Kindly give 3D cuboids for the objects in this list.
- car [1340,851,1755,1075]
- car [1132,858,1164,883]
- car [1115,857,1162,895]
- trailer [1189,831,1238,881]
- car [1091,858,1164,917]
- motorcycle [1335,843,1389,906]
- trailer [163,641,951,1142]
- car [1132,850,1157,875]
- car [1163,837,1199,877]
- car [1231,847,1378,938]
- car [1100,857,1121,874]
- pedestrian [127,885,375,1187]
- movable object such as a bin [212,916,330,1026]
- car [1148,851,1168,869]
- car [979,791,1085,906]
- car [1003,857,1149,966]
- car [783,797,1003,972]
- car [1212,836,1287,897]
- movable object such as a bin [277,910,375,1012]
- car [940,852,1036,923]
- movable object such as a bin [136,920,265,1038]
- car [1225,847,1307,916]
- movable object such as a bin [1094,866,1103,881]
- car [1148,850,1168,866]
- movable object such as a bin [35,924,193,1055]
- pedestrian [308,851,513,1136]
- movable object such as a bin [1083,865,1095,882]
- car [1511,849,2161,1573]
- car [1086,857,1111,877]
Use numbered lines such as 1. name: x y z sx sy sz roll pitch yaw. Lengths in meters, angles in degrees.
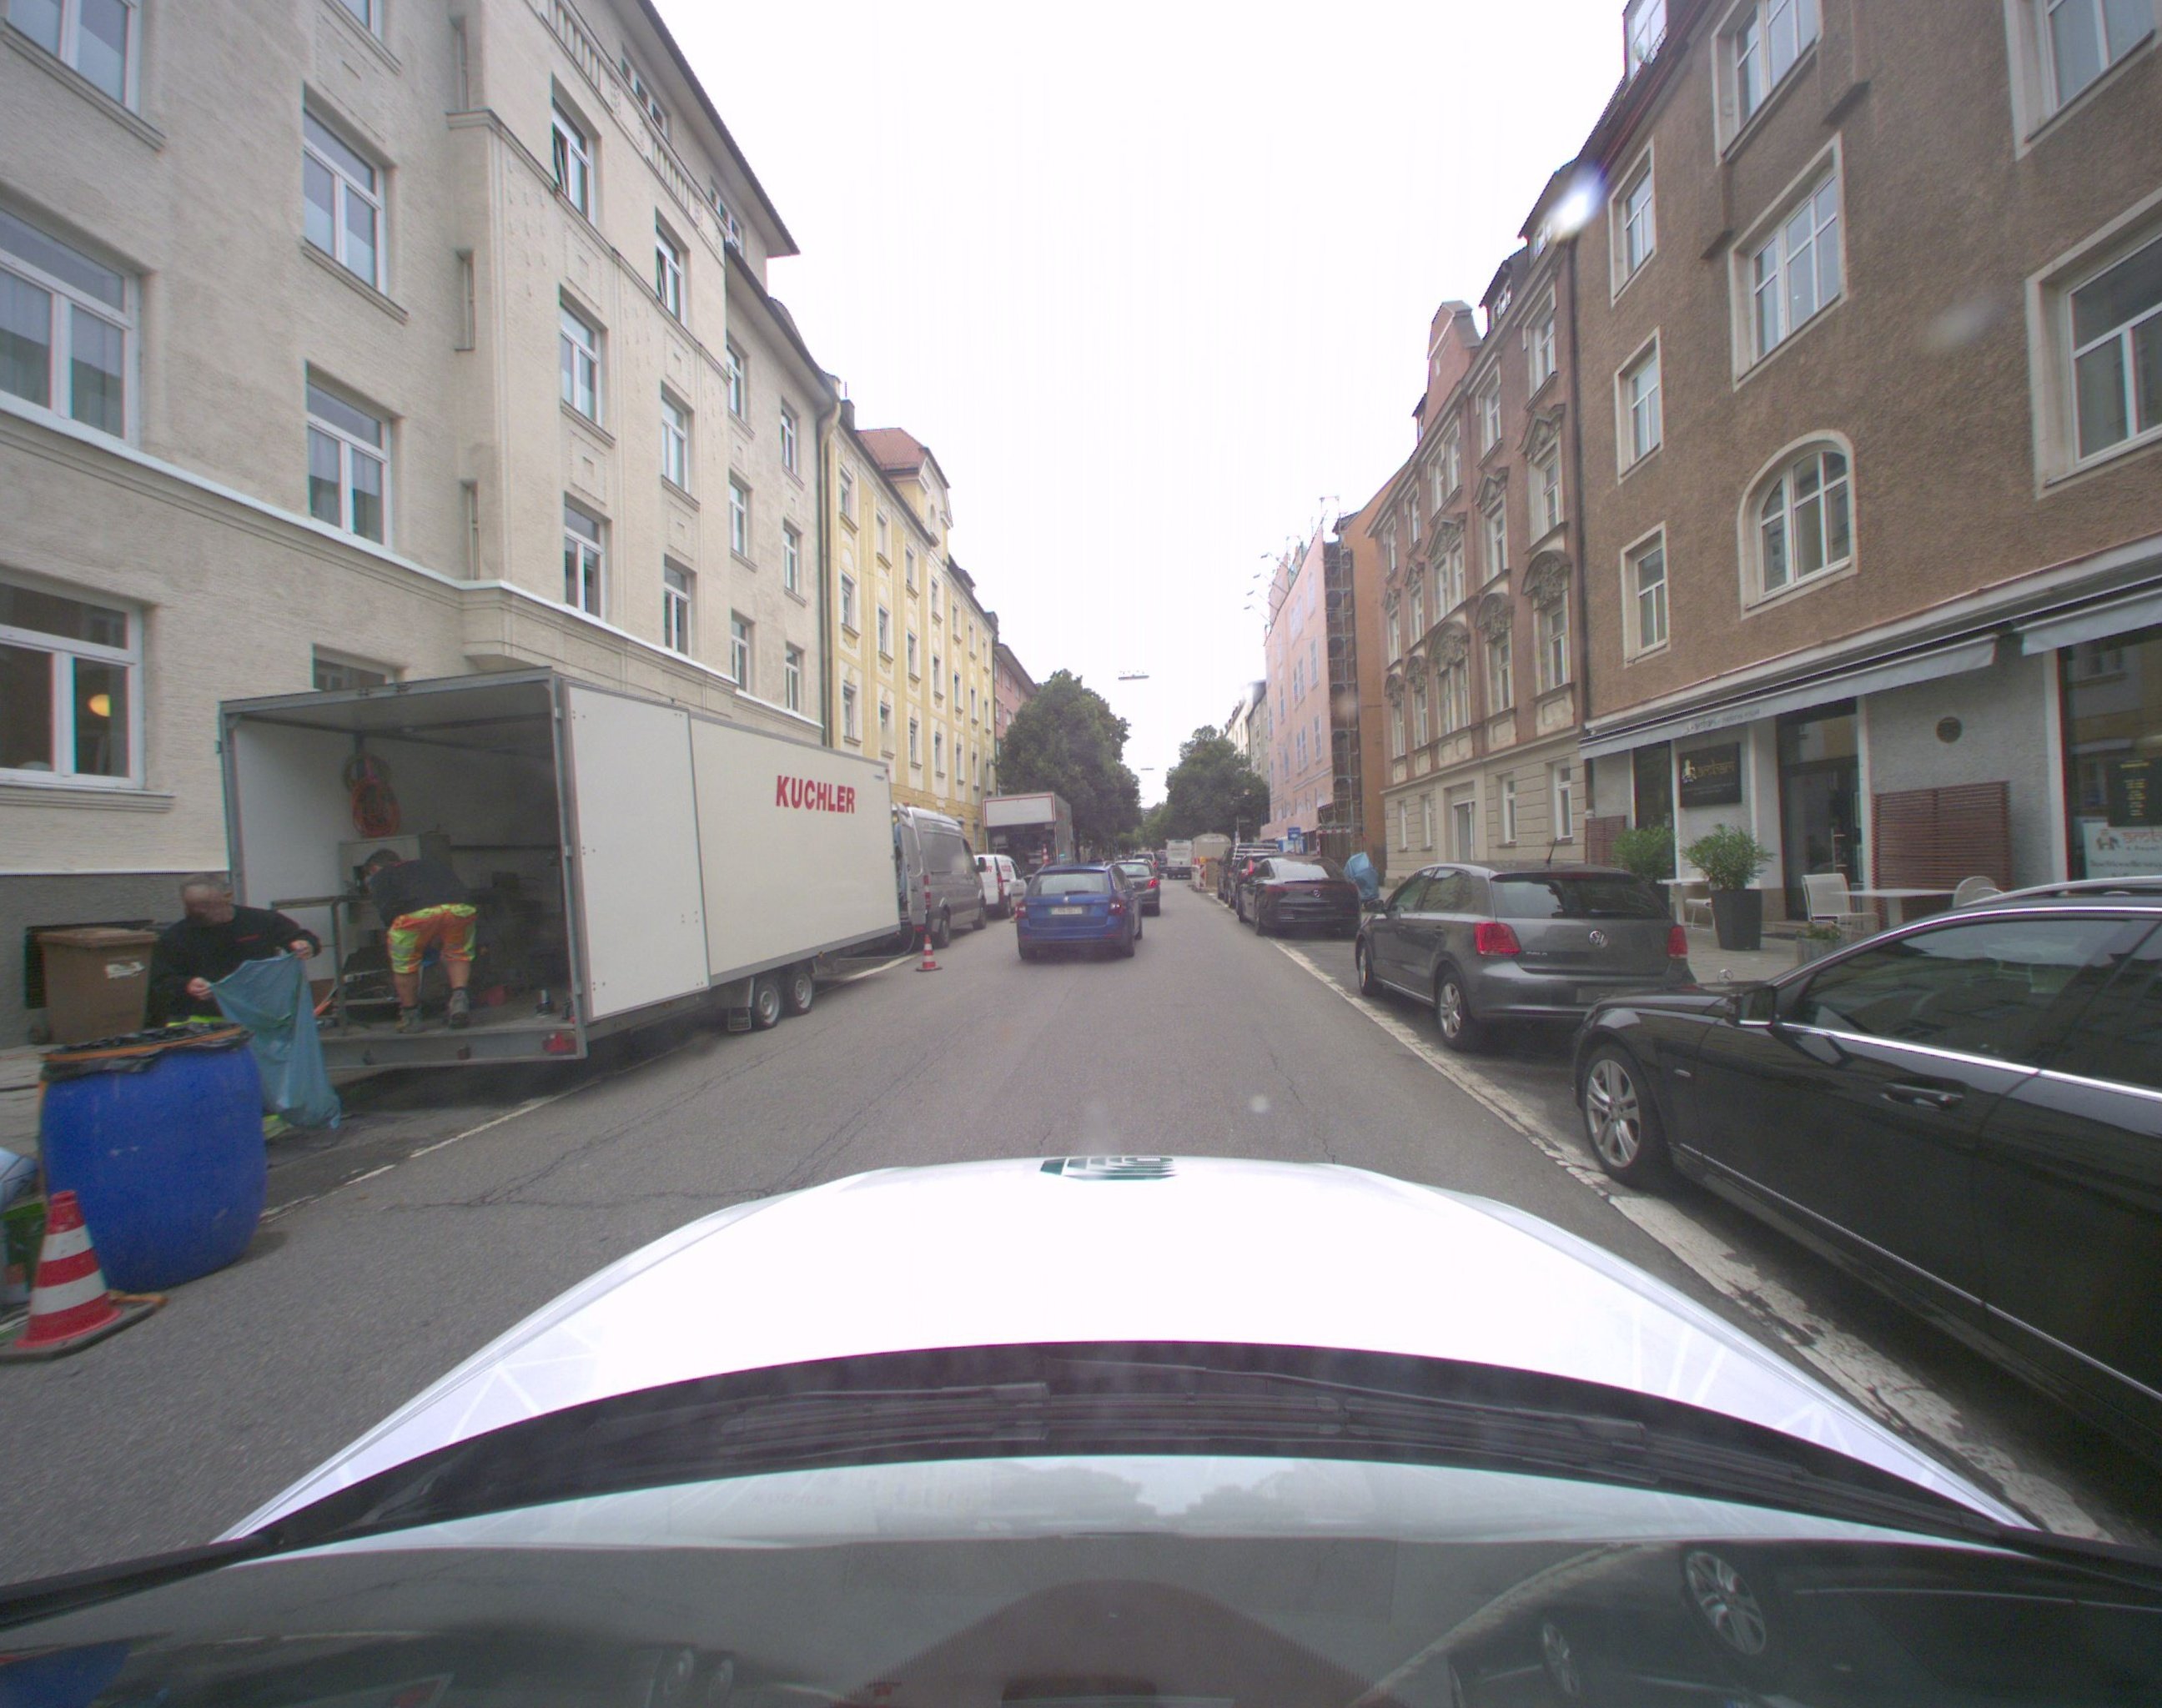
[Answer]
1. car: 3.665 0.734 7.349 1.565 1.394 4.187 -2 -1 4
2. car: 4.025 0.956 49.278 1.859 1.348 4.352 -1 0 4
3. car: 2.434 0.879 34.238 1.859 1.454 4.352 -1 0 4
4. trailer: 8.103 0.147 50.554 2.490 2.840 6.911 -1 -1 5
5. car: 1.353 0.850 22.331 1.732 1.422 3.670 -2 -1 7
6. motorcycle: 7.109 0.500 20.714 0.867 1.505 2.001 -2 -1 7
7. trailer: -4.030 0.247 8.969 2.788 2.969 7.616 -5 0 8
8. car: 5.015 0.650 63.785 1.858 1.870 4.354 -1 0 5
9. car: 7.140 0.255 57.757 2.099 2.664 5.517 -1 -1 11
10. car: 4.431 0.681 17.116 1.922 1.553 5.643 -1 0 4
11. car: 2.758 1.020 75.528 1.804 1.478 4.004 -1 0 3
12. pedestrian: -4.827 0.995 4.791 0.762 1.580 0.634 -2 -1 -12
13. movable object such as a bin: -9.112 1.297 9.178 0.673 1.129 0.640 -3 -1 8
14. car: 7.246 0.525 76.467 1.858 1.653 4.354 -1 0 5
15. car: -1.658 -0.156 32.158 2.799 3.817 8.735 -2 -1 5
16. car: 0.099 0.821 13.487 1.779 1.460 4.323 -2 -1 7
17. car: -3.338 0.505 16.446 2.046 2.587 6.886 -6 -1 5
18. car: 5.772 0.503 28.468 2.072 1.921 5.148 -1 -3 6
19. movable object such as a bin: -9.038 1.267 9.765 0.645 1.129 0.556 -3 -1 8
20. car: -2.602 0.907 23.840 1.754 1.779 4.334 -4 -1 6
21. movable object such as a bin: -9.231 1.291 8.553 0.645 1.129 0.640 -3 -1 8
22. car: 4.950 0.694 22.273 1.685 1.676 4.415 1 -1 6
23. movable object such as a bin: 1.194 1.346 56.155 0.544 1.020 0.636 -4 0 2
24. car: 8.338 0.409 88.131 1.998 1.653 4.354 -1 0 5
25. movable object such as a bin: -9.316 1.283 7.869 0.645 1.129 0.732 -3 -1 8
26. pedestrian: -4.198 0.822 5.160 0.762 1.631 0.634 -2 -1 -14
27. movable object such as a bin: 0.574 1.346 56.142 0.708 1.148 0.636 -4 0 2
28. car: 3.104 0.706 2.087 1.837 1.405 4.795 -2 0 6
29. car: 1.446 1.025 64.851 1.804 1.478 4.004 -1 0 3
